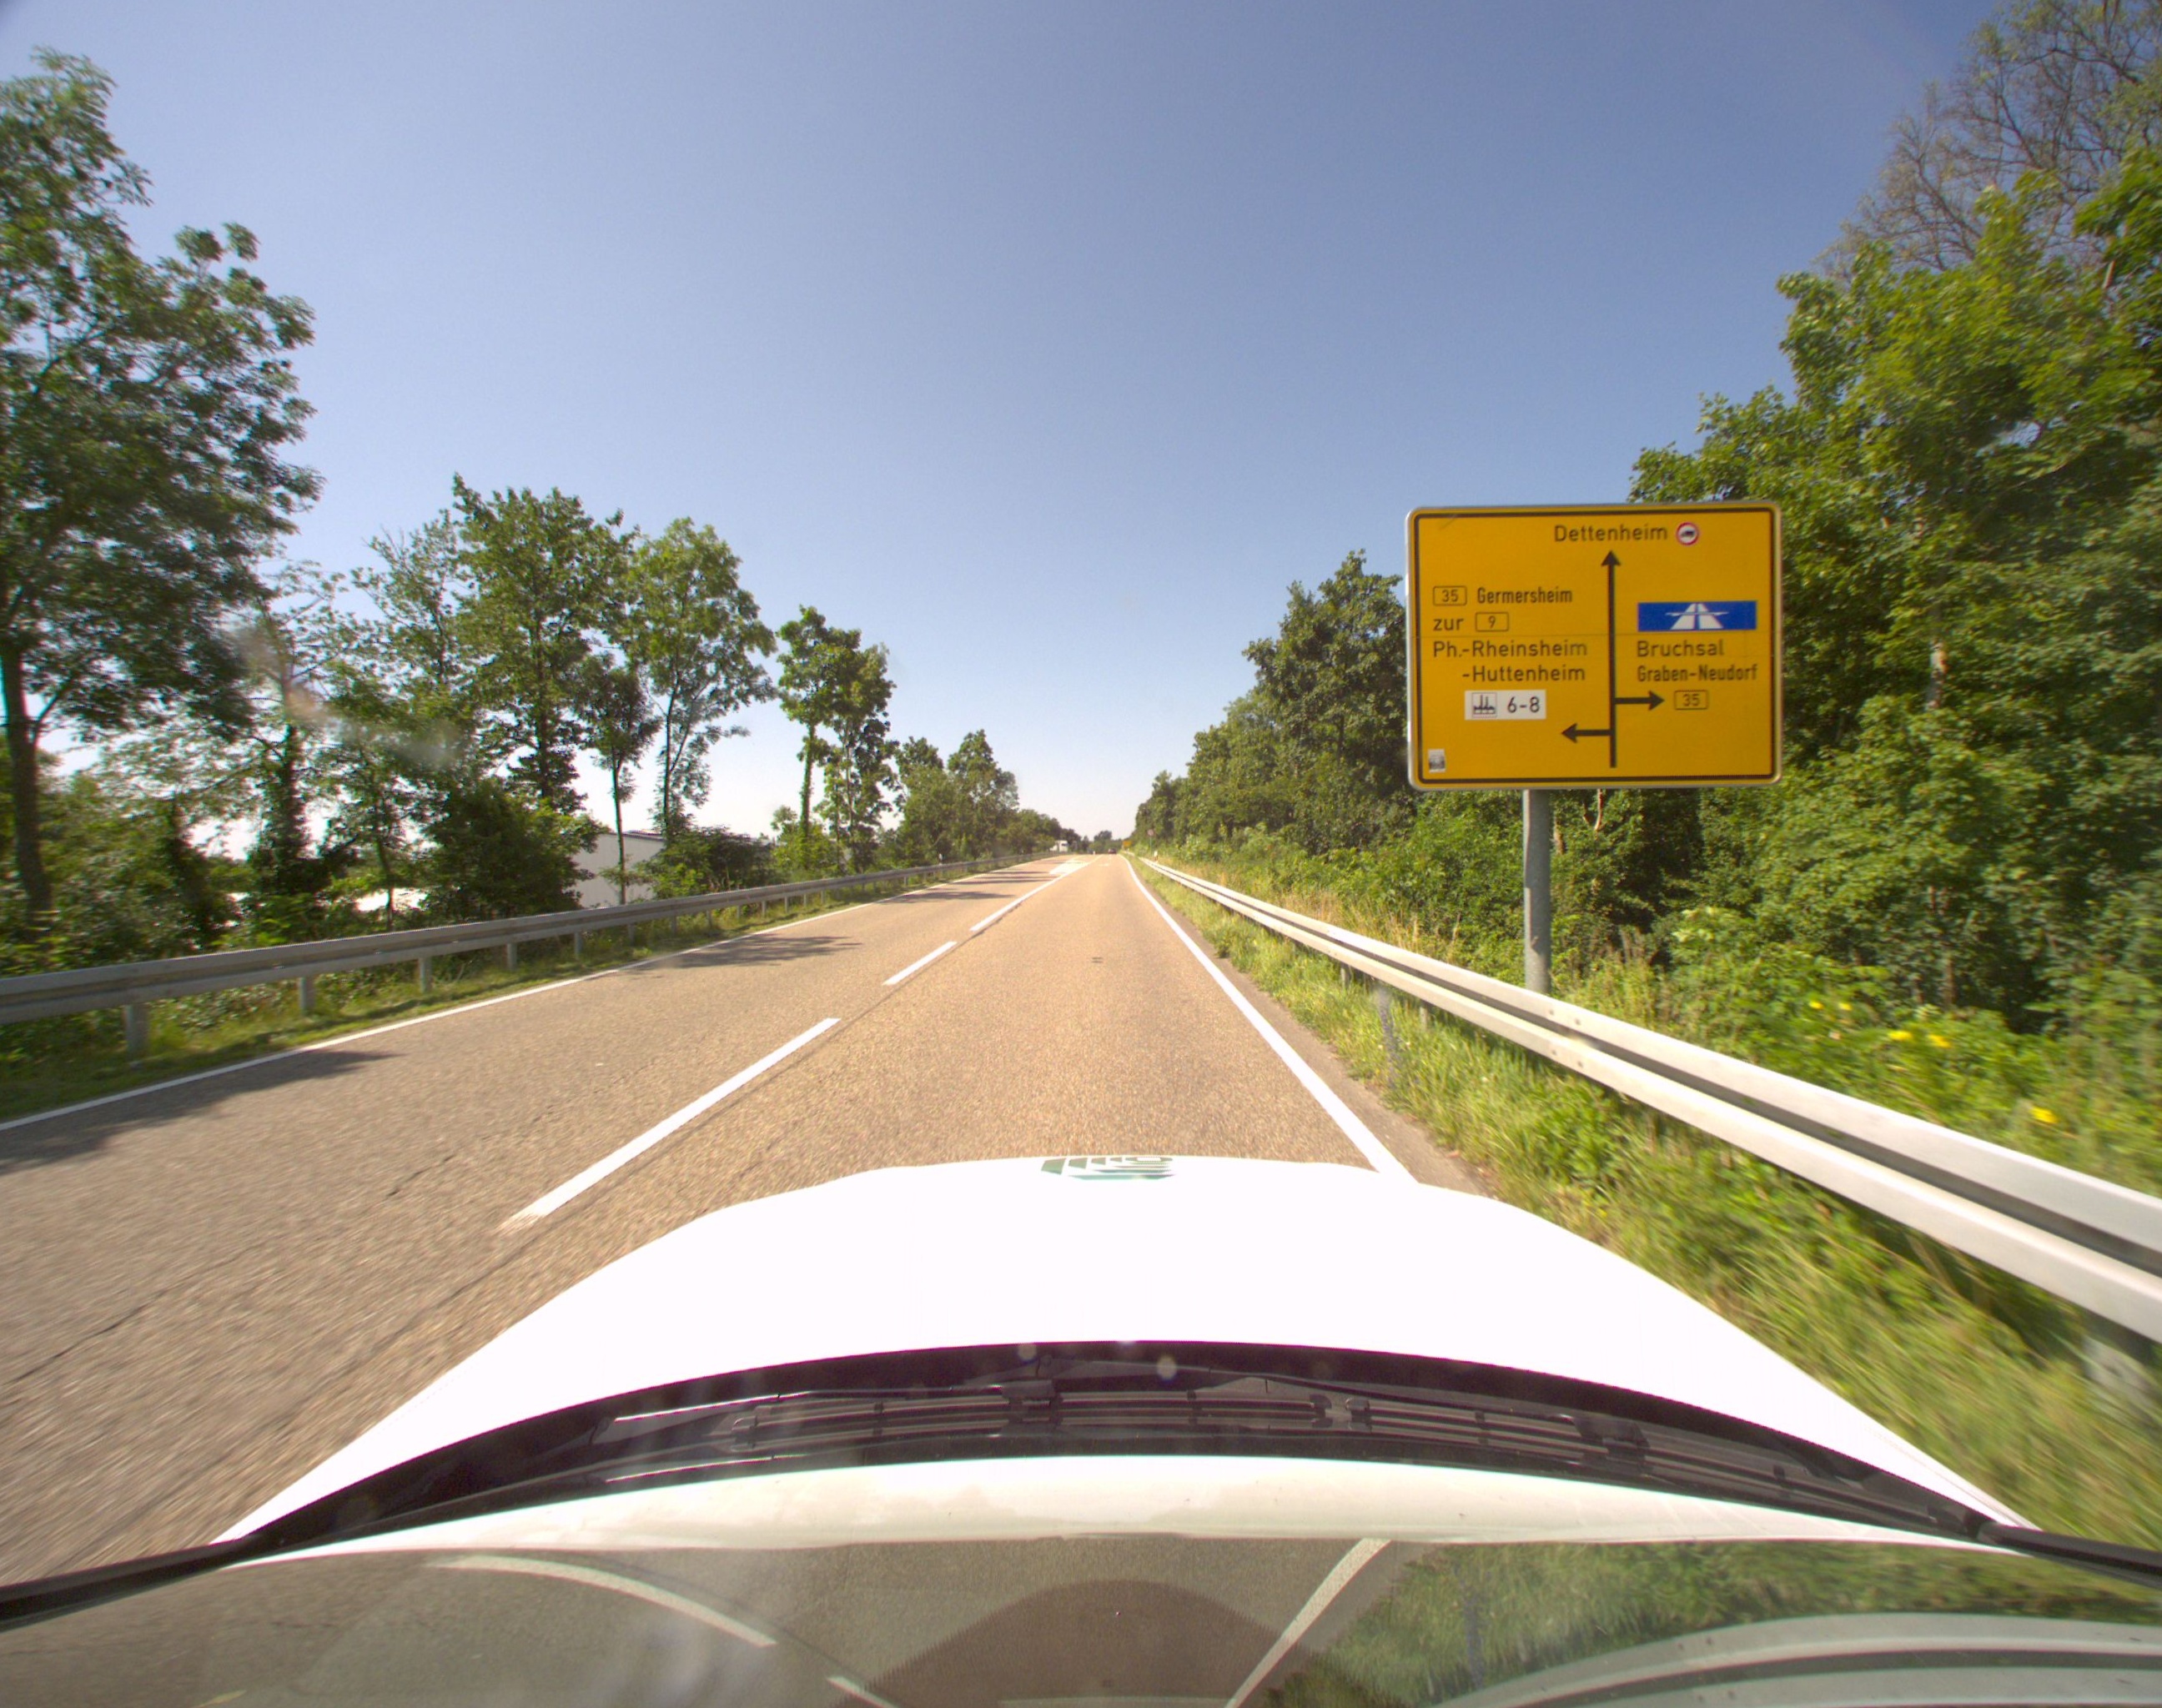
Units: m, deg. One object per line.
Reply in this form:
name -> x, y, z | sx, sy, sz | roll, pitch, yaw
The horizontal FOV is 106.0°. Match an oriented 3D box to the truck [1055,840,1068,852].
truck -> -5.670, -2.276, 232.280 | 3.450, 3.537, 2.002 | -1, 0, 3

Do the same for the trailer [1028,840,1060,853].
trailer -> -10.567, -2.233, 232.559 | 9.063, 3.578, 2.002 | -1, 0, 3

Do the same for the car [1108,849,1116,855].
car -> 7.270, -0.501, 192.411 | 1.734, 1.470, 3.694 | -1, 0, 2
